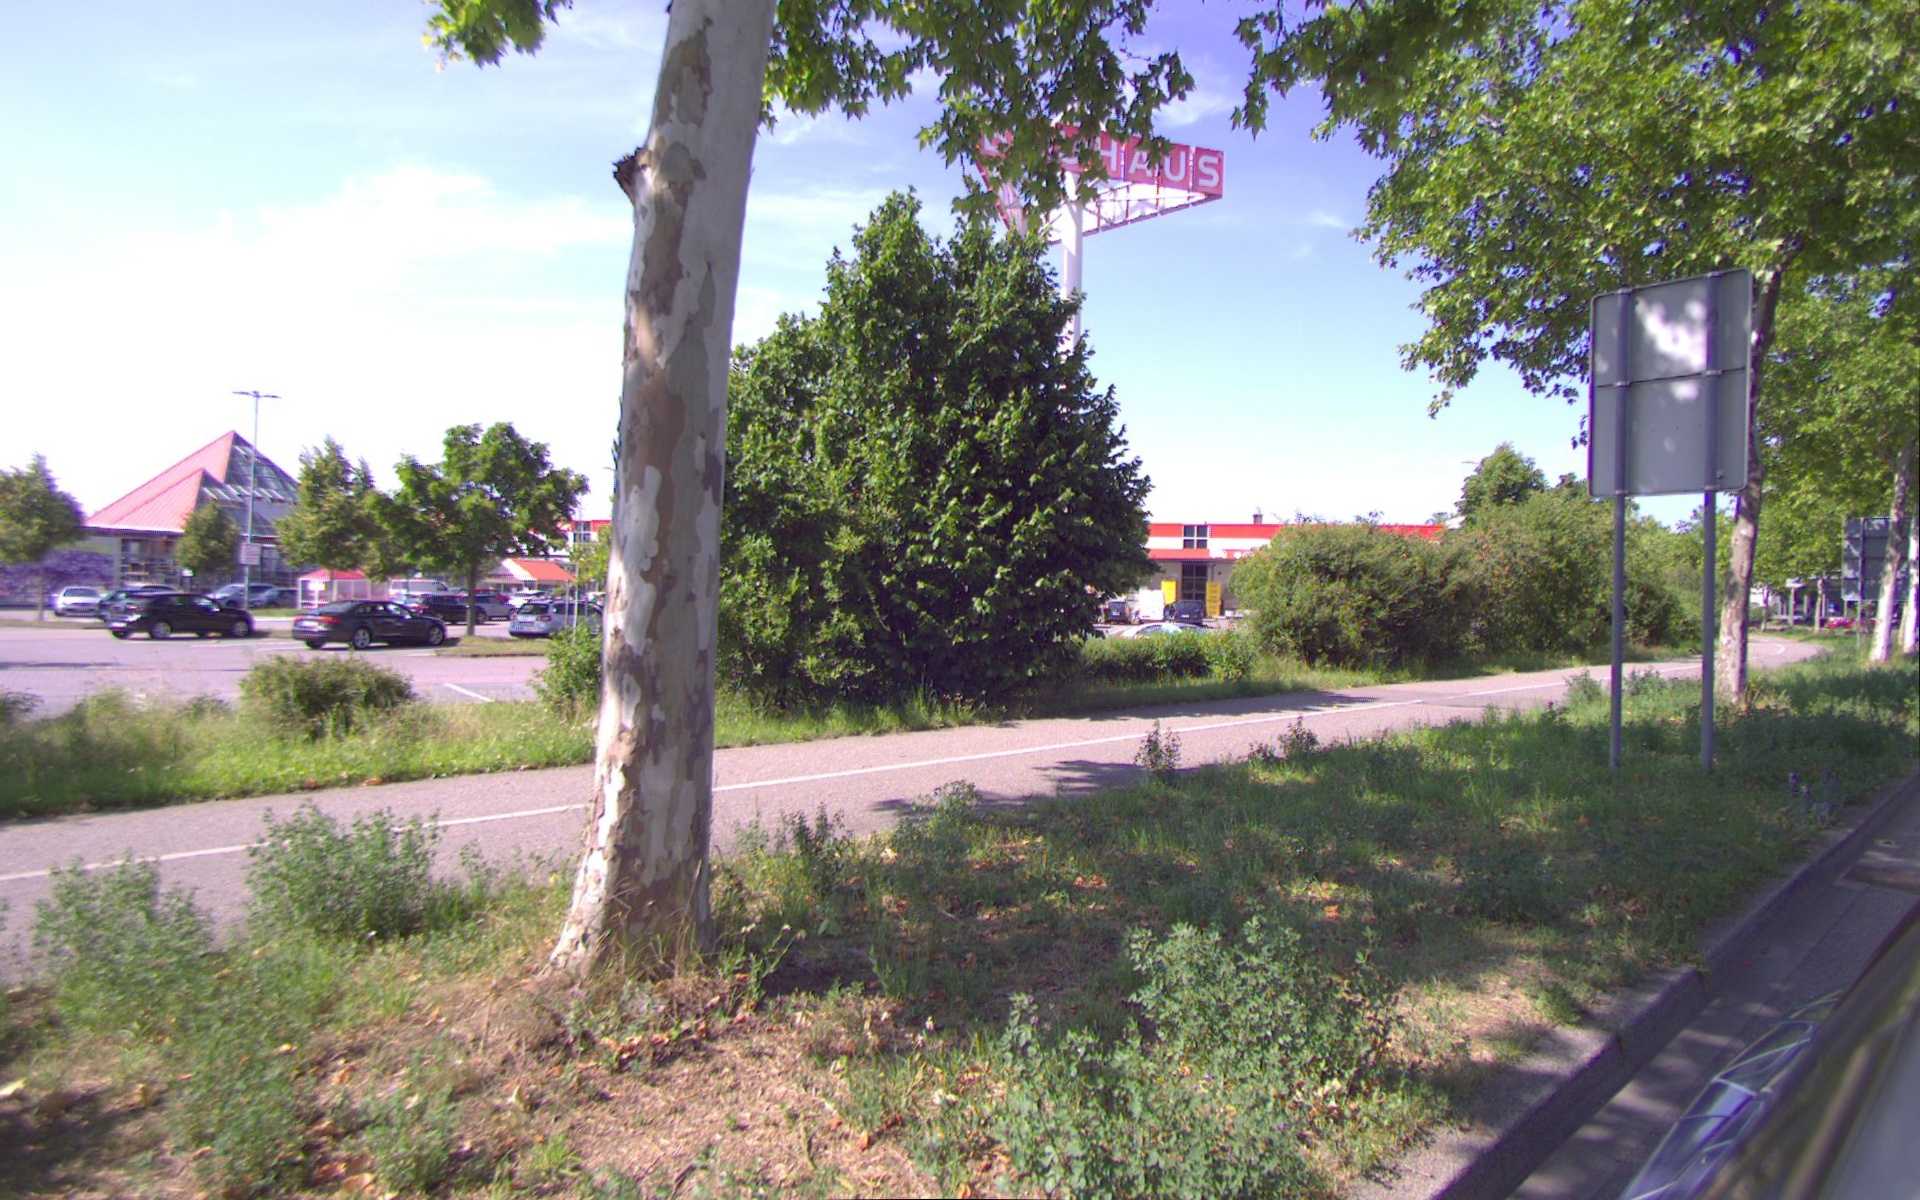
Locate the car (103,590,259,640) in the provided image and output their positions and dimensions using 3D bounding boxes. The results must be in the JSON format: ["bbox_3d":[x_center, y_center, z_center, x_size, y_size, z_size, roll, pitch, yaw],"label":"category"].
[{"bbox_3d":[-24.295,0.466,31.727,1.472,1.460,3.858,-1,-1,12],"label":"car"}]

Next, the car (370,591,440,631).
[{"bbox_3d":[-31.220,0.613,57.054,1.534,2.191,3.539,0,0,12],"label":"car"}]

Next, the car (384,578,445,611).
[{"bbox_3d":[-38.273,-0.365,71.106,1.973,2.256,3.566,0,0,12],"label":"car"}]

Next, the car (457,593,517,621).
[{"bbox_3d":[-26.375,0.374,56.502,1.474,1.527,3.495,0,0,5],"label":"car"}]

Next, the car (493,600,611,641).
[{"bbox_3d":[-13.840,0.738,34.569,1.759,1.289,3.805,0,-3,16],"label":"car"}]

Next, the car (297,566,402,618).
[{"bbox_3d":[-35.718,-0.447,59.402,2.271,2.889,5.265,0,0,12],"label":"car"}]

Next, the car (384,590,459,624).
[{"bbox_3d":[-25.277,0.319,47.611,1.474,1.527,3.495,0,0,5],"label":"car"}]

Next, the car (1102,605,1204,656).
[{"bbox_3d":[6.193,0.947,32.617,1.175,1.474,3.157,0,1,-42],"label":"car"}]

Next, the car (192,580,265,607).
[{"bbox_3d":[-43.309,-0.356,59.945,1.377,1.530,3.295,-1,-1,22],"label":"car"}]

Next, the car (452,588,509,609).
[{"bbox_3d":[-33.080,-0.098,69.874,1.507,1.455,3.846,0,0,13],"label":"car"}]

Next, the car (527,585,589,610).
[{"bbox_3d":[-26.839,-0.151,67.769,1.973,1.632,4.042,0,0,12],"label":"car"}]

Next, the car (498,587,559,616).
[{"bbox_3d":[-29.080,0.119,68.344,1.861,1.868,4.042,0,0,12],"label":"car"}]

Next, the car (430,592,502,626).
[{"bbox_3d":[-23.246,0.408,47.758,1.474,1.527,3.495,0,0,5],"label":"car"}]

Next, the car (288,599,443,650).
[{"bbox_3d":[-17.207,0.667,29.511,1.425,1.371,3.977,0,0,17],"label":"car"}]

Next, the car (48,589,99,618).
[{"bbox_3d":[-41.702,0.176,47.663,1.608,1.282,3.736,0,-1,-38],"label":"car"}]

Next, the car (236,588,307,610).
[{"bbox_3d":[-40.706,-0.026,59.916,1.377,1.266,3.295,-1,-1,22],"label":"car"}]
